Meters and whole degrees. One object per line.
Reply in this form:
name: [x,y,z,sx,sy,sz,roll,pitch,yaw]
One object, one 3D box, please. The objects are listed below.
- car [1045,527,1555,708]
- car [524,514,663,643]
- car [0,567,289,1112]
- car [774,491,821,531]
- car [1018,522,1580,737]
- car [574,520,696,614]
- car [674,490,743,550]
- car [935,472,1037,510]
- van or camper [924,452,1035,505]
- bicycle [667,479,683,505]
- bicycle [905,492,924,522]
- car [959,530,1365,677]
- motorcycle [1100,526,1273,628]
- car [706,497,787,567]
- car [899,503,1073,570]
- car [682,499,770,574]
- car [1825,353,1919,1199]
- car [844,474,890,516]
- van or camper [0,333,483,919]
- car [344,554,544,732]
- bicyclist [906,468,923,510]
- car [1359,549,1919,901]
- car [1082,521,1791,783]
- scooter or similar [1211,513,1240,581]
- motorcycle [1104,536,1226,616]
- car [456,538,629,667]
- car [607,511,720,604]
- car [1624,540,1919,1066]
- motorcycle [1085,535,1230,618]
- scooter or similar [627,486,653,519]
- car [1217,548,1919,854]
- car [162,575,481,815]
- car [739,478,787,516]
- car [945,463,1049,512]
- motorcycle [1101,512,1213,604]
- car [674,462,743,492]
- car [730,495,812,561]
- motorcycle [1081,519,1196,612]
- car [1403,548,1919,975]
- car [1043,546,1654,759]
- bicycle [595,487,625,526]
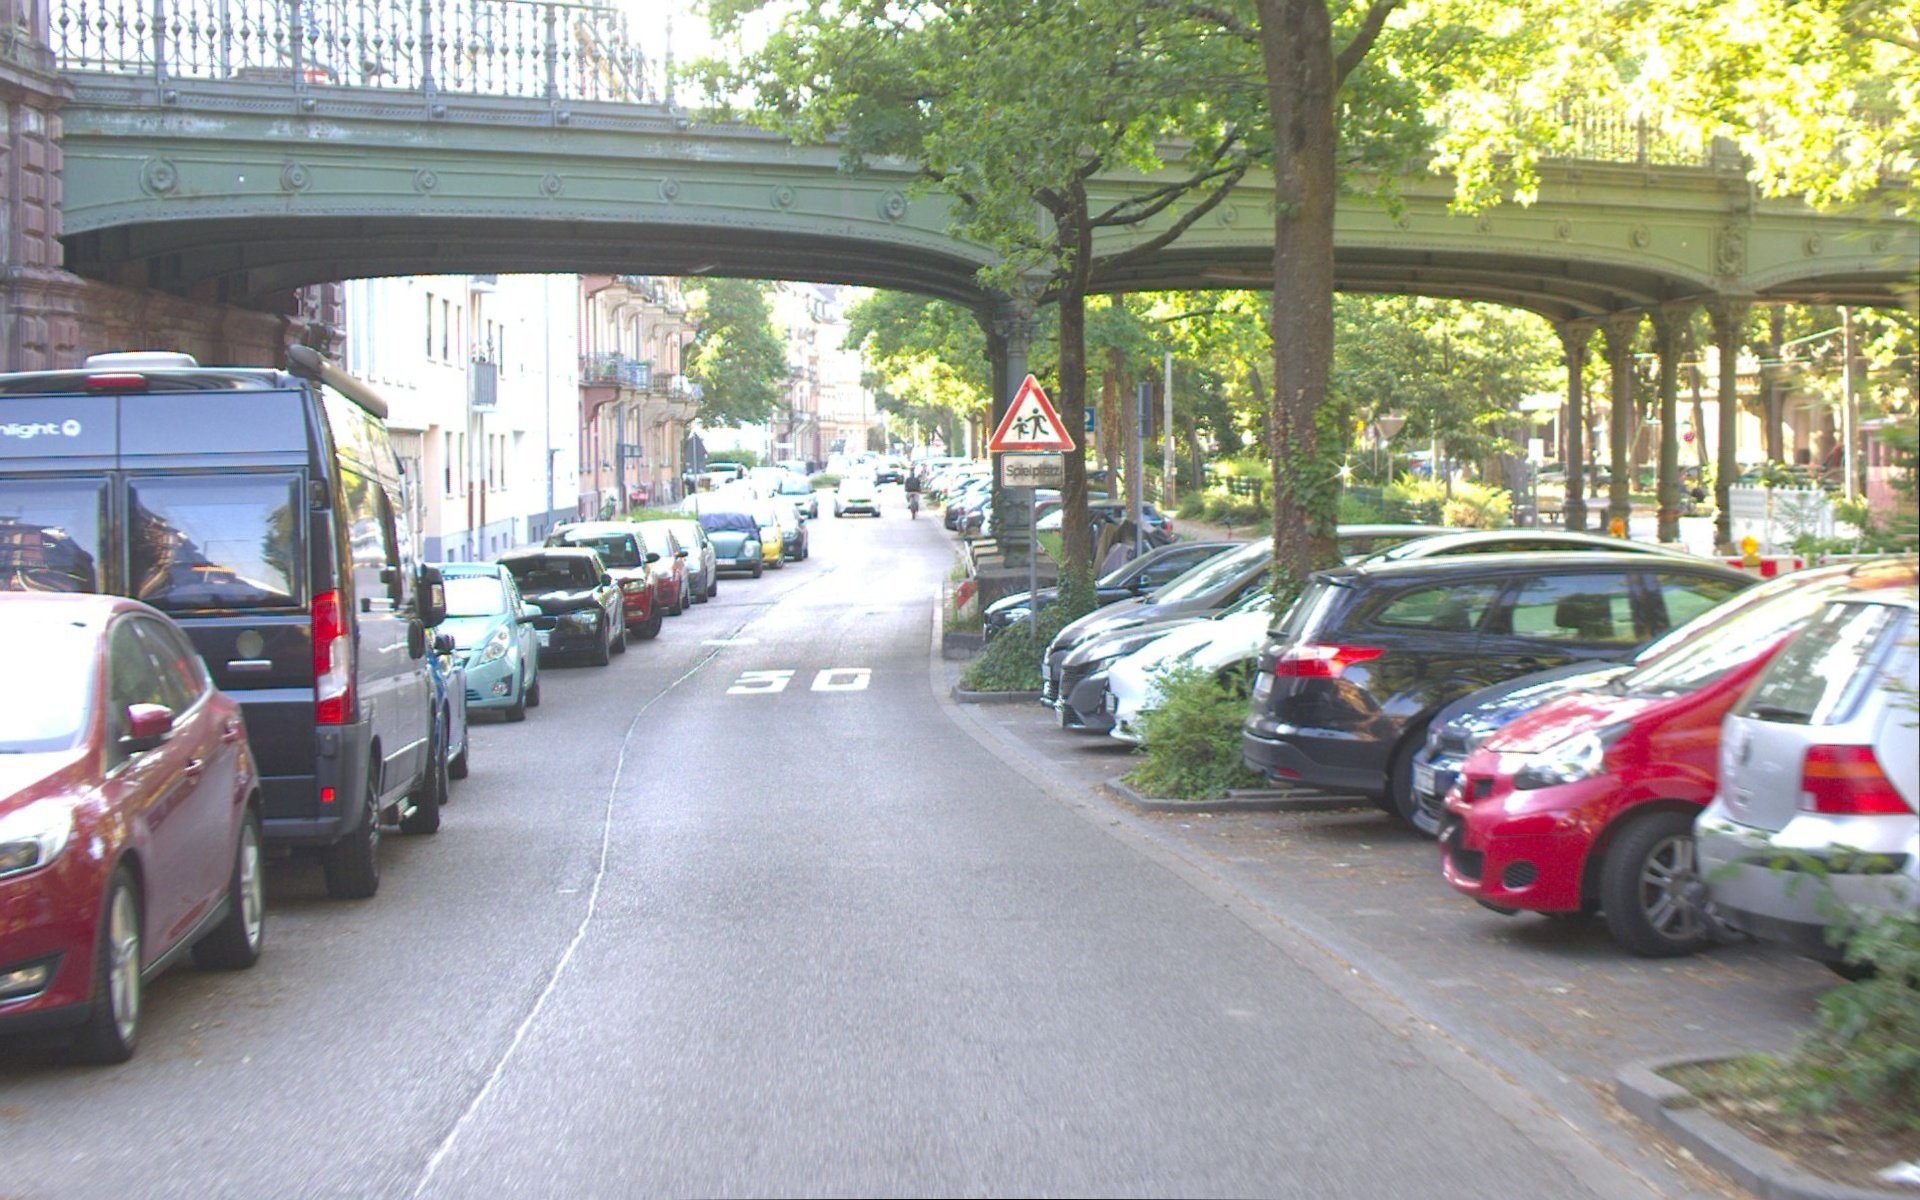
car: [3.104,0.146,31.945,4.586,1.600,1.734,-1,1,3]
car: [-5.254,-0.356,49.692,1.716,1.702,4.323,-2,2,-3]
car: [-3.459,0.677,11.673,1.699,1.502,4.229,-2,1,-3]
car: [-6.299,-3.459,133.167,1.504,1.430,2.753,-1,3,3]
car: [2.772,0.231,28.753,4.373,1.702,1.907,1,1,-5]
car: [-5.380,-0.573,57.230,1.689,1.436,4.001,-1,2,-1]
car: [-6.920,-2.239,94.934,1.668,1.502,4.001,3,2,-2]
car: [1.102,-4.635,146.458,4.220,1.448,1.649,-2,2,3]
van or camper: [0.884,-5.607,159.119,4.981,2.369,2.185,1,1,-3]
bicycle: [-12.755,-4.840,153.899,0.704,1.143,1.890,1,1,-4]
bicycle: [-1.725,-3.503,129.500,0.641,1.096,1.944,1,1,-2]
car: [2.220,0.031,38.574,4.374,1.572,1.675,1,1,-3]
motorcycle: [2.797,-0.279,42.451,1.929,1.233,0.905,0,1,-26]
car: [-4.903,-1.590,79.310,1.702,1.520,3.774,-1,2,-2]
car: [0.563,-1.406,76.174,3.782,1.396,1.827,-1,1,0]
car: [-4.970,-1.378,73.352,1.566,1.512,3.783,-1,2,0]
car: [4.246,0.374,6.442,4.671,1.918,1.873,-3,1,-3]
car: [-3.654,-4.138,135.143,1.668,1.425,4.001,-3,4,-1]
van or camper: [-3.830,0.065,18.000,2.235,2.514,6.423,1,1,-4]
car: [-5.027,0.372,33.868,1.594,1.542,3.916,-2,2,-4]
bicyclist: [-1.718,-4.184,129.437,0.627,1.567,0.802,1,1,-2]
car: [4.016,0.562,16.331,3.986,1.568,1.587,1,1,-3]
car: [3.193,0.334,23.670,4.532,1.690,1.908,1,1,-3]
scooter or similar: [5.081,-1.016,65.798,0.477,1.293,1.325,1,1,2]
motorcycle: [2.948,-0.347,49.477,1.599,1.128,0.713,0,1,-17]
car: [-5.263,-0.005,43.806,1.717,1.459,4.001,-1,2,-1]
car: [-5.293,-0.789,61.752,1.636,1.461,4.001,-3,2,0]
car: [4.298,0.614,11.085,3.987,1.568,1.666,1,1,1]
motorcycle: [2.772,-0.330,48.192,1.831,1.128,0.851,0,1,-24]
scooter or similar: [-12.182,-3.706,130.843,0.783,1.218,2.704,1,1,-1]
car: [3.511,0.521,18.732,4.020,1.568,1.587,1,1,-3]
car: [-4.326,0.588,23.855,1.744,1.461,4.376,1,1,-5]
car: [-7.962,-4.184,139.096,1.674,1.449,4.211,-2,3,0]
car: [1.520,-4.652,142.165,4.220,1.857,1.762,-2,2,0]
motorcycle: [3.062,-0.660,53.398,1.601,1.403,0.712,1,1,19]
car: [-15.030,-7.356,205.536,3.987,1.700,2.000,1,1,0]
car: [-4.605,-1.774,84.182,1.739,1.474,4.001,-1,2,0]
motorcycle: [2.724,-0.532,52.484,1.601,1.403,0.712,1,1,19]
car: [3.881,0.601,13.599,3.986,1.568,1.587,1,1,-3]
car: [2.889,0.374,26.245,4.374,1.527,1.876,1,1,-3]
bicycle: [-11.470,-3.087,112.839,0.737,1.202,2.514,1,3,0]
